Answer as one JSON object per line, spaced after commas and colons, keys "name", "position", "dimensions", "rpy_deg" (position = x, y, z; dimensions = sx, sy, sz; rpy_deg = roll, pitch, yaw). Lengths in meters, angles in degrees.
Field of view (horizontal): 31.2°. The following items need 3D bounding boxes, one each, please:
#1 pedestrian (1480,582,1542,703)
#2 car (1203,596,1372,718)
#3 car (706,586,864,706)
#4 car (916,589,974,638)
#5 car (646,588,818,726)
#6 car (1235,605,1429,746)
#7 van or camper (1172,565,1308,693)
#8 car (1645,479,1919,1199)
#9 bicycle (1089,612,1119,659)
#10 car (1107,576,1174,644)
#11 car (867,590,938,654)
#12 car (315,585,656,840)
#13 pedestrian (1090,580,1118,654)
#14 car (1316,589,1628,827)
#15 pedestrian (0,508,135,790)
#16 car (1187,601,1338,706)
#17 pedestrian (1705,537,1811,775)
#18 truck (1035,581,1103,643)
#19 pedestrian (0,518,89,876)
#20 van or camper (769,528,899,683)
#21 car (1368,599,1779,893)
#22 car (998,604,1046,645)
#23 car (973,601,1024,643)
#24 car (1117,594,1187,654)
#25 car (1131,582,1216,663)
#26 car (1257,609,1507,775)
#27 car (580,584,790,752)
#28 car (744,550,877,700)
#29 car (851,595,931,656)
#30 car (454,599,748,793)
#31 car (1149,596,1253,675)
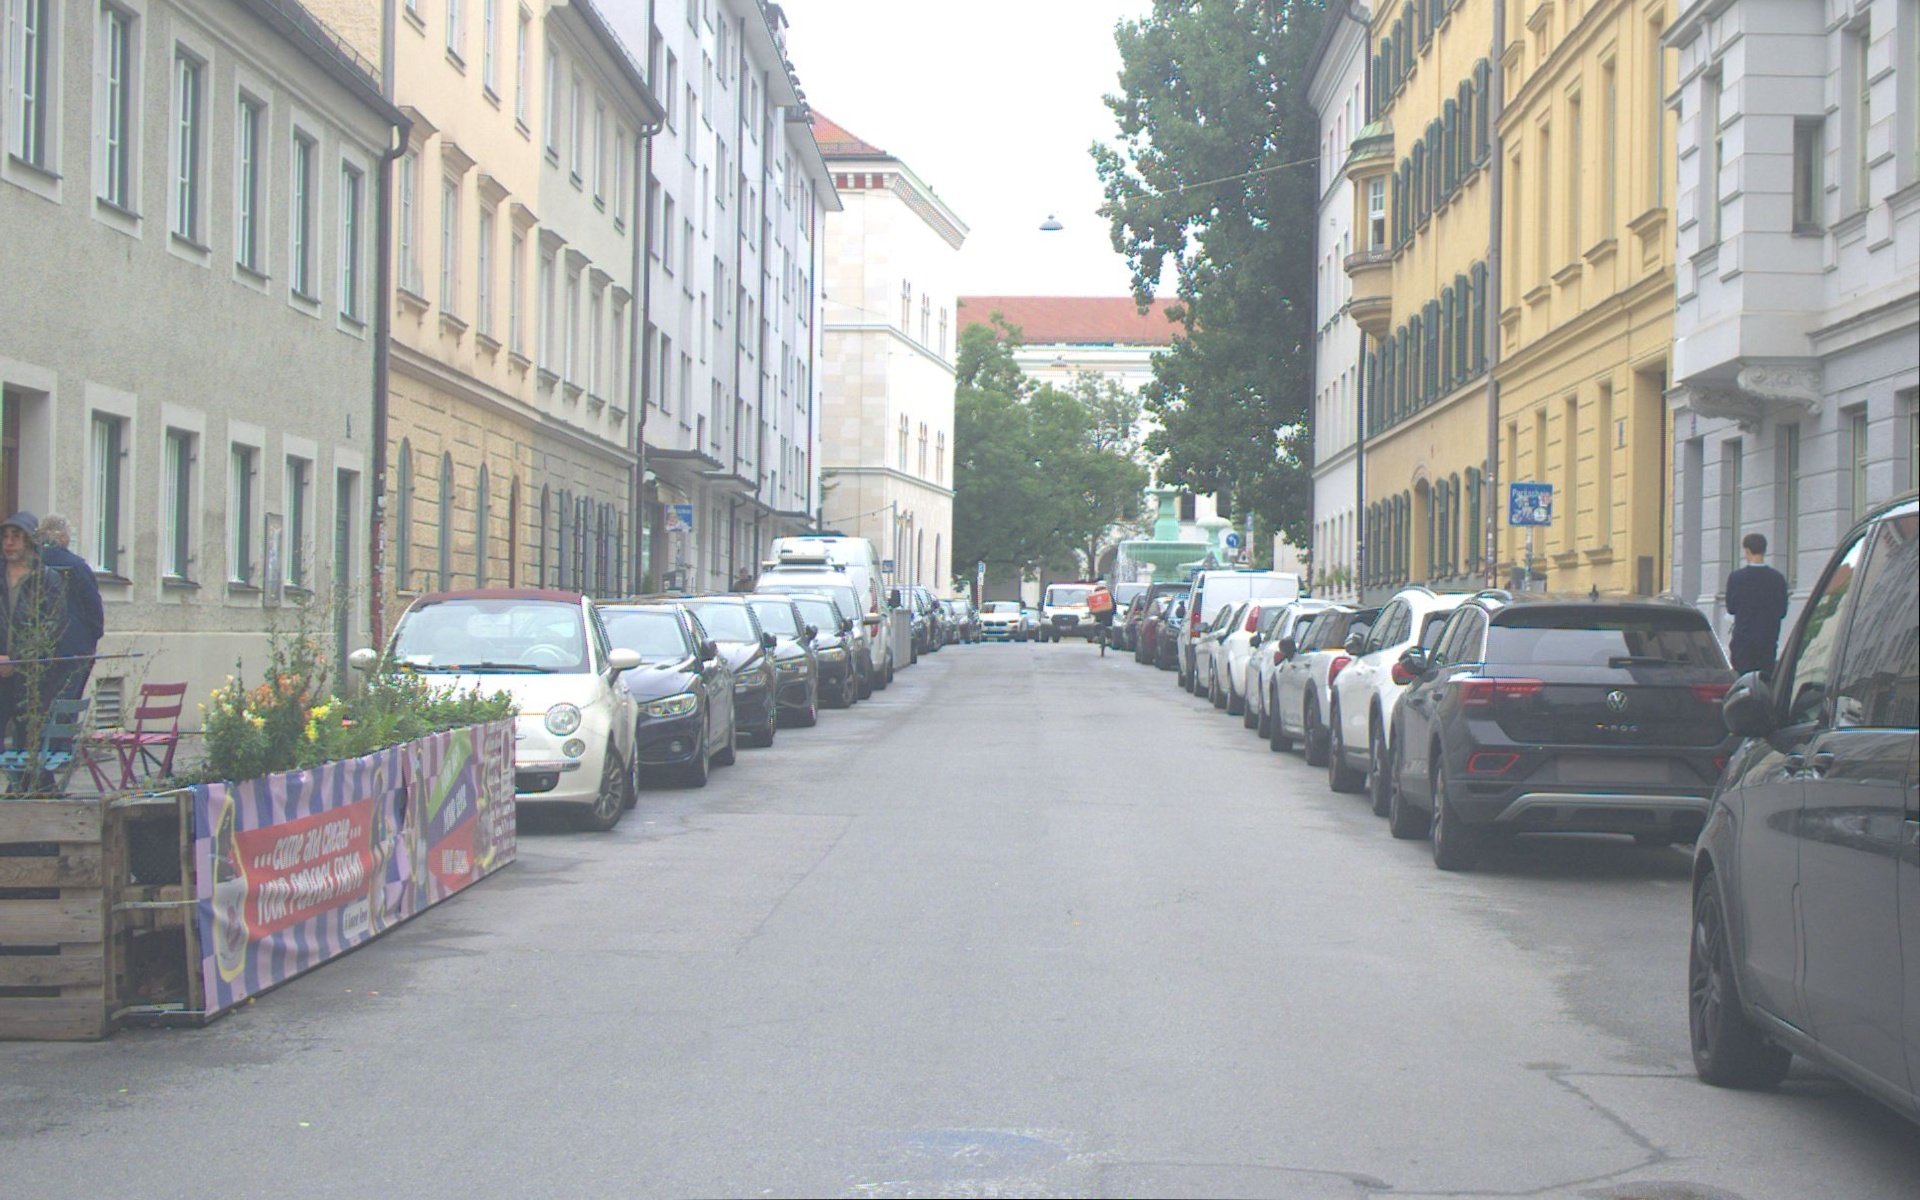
{"name": "pedestrian", "position": [7.247, 0.562, 45.235], "dimensions": [0.660, 1.566, 0.642], "rpy_deg": [-2, -1, 1]}
{"name": "car", "position": [4.159, 0.702, 44.155], "dimensions": [1.708, 1.449, 4.097], "rpy_deg": [1, 0, -1]}
{"name": "car", "position": [-2.173, 0.561, 43.515], "dimensions": [1.754, 1.404, 4.103], "rpy_deg": [1, 0, 0]}
{"name": "car", "position": [-0.494, 0.454, 115.692], "dimensions": [1.707, 1.604, 3.862], "rpy_deg": [0, 0, 4]}
{"name": "car", "position": [-2.501, 0.597, 38.507], "dimensions": [1.816, 1.437, 4.132], "rpy_deg": [0, 0, -2]}
{"name": "car", "position": [4.004, 0.781, 37.618], "dimensions": [1.708, 1.404, 4.814], "rpy_deg": [1, 0, 2]}
{"name": "van or camper", "position": [4.346, 0.435, 54.003], "dimensions": [1.834, 1.865, 5.078], "rpy_deg": [1, 0, 2]}
{"name": "car", "position": [3.199, 0.680, 8.907], "dimensions": [1.998, 1.858, 5.252], "rpy_deg": [2, 0, 3]}
{"name": "bicycle", "position": [3.354, 0.836, 80.223], "dimensions": [0.675, 1.091, 1.760], "rpy_deg": [1, -1, 2]}
{"name": "car", "position": [5.271, 0.301, 100.599], "dimensions": [1.852, 1.913, 4.769], "rpy_deg": [1, 0, 2]}
{"name": "car", "position": [-1.454, 0.559, 87.695], "dimensions": [1.706, 1.604, 3.863], "rpy_deg": [0, 0, 1]}
{"name": "car", "position": [-2.991, 0.667, 22.352], "dimensions": [1.754, 1.470, 3.714], "rpy_deg": [2, 0, -2]}
{"name": "pedestrian", "position": [3.360, 0.394, 80.281], "dimensions": [0.642, 1.708, 0.842], "rpy_deg": [1, -1, 2]}
{"name": "car", "position": [3.704, 0.736, 25.543], "dimensions": [1.743, 1.578, 4.466], "rpy_deg": [1, 0, 2]}
{"name": "pedestrian", "position": [-6.173, 0.335, 23.507], "dimensions": [0.822, 1.891, 0.827], "rpy_deg": [1, -1, 1]}
{"name": "car", "position": [4.262, 0.735, 49.014], "dimensions": [1.708, 1.388, 4.206], "rpy_deg": [1, 0, -1]}
{"name": "pedestrian", "position": [6.789, 0.479, 29.273], "dimensions": [0.669, 1.974, 0.708], "rpy_deg": [-2, -1, 2]}
{"name": "truck", "position": [4.181, 0.494, 130.739], "dimensions": [2.121, 2.240, 6.183], "rpy_deg": [1, -1, 6]}
{"name": "pedestrian", "position": [-4.847, 0.488, 17.548], "dimensions": [0.528, 1.776, 0.877], "rpy_deg": [1, -1, 2]}
{"name": "van or camper", "position": [-1.926, 0.083, 53.954], "dimensions": [1.754, 2.273, 5.273], "rpy_deg": [1, 0, 1]}
{"name": "car", "position": [3.506, 0.779, 20.368], "dimensions": [1.754, 1.516, 4.274], "rpy_deg": [1, 0, 2]}
{"name": "car", "position": [2.480, 0.964, 136.237], "dimensions": [1.707, 1.576, 3.862], "rpy_deg": [0, 0, 4]}
{"name": "car", "position": [1.480, 0.829, 130.133], "dimensions": [1.707, 1.576, 3.862], "rpy_deg": [0, 0, 4]}
{"name": "car", "position": [5.271, 0.660, 94.717], "dimensions": [1.812, 1.609, 4.155], "rpy_deg": [1, 0, 2]}
{"name": "car", "position": [4.999, 0.527, 80.807], "dimensions": [1.812, 1.791, 4.246], "rpy_deg": [2, 0, 2]}
{"name": "car", "position": [3.833, 0.800, 31.846], "dimensions": [1.708, 1.400, 4.207], "rpy_deg": [1, 0, -1]}
{"name": "car", "position": [-2.607, 0.618, 33.394], "dimensions": [1.754, 1.491, 4.201], "rpy_deg": [1, 0, -1]}
{"name": "car", "position": [-2.119, 0.339, 48.660], "dimensions": [1.754, 1.988, 4.626], "rpy_deg": [1, 0, -3]}
{"name": "car", "position": [-1.639, 0.599, 82.577], "dimensions": [1.817, 1.439, 3.818], "rpy_deg": [0, 0, 1]}
{"name": "car", "position": [-2.769, 0.702, 27.500], "dimensions": [1.798, 1.335, 4.685], "rpy_deg": [1, 1, 0]}
{"name": "car", "position": [4.778, 0.689, 68.523], "dimensions": [1.812, 1.460, 4.246], "rpy_deg": [2, 0, 1]}
